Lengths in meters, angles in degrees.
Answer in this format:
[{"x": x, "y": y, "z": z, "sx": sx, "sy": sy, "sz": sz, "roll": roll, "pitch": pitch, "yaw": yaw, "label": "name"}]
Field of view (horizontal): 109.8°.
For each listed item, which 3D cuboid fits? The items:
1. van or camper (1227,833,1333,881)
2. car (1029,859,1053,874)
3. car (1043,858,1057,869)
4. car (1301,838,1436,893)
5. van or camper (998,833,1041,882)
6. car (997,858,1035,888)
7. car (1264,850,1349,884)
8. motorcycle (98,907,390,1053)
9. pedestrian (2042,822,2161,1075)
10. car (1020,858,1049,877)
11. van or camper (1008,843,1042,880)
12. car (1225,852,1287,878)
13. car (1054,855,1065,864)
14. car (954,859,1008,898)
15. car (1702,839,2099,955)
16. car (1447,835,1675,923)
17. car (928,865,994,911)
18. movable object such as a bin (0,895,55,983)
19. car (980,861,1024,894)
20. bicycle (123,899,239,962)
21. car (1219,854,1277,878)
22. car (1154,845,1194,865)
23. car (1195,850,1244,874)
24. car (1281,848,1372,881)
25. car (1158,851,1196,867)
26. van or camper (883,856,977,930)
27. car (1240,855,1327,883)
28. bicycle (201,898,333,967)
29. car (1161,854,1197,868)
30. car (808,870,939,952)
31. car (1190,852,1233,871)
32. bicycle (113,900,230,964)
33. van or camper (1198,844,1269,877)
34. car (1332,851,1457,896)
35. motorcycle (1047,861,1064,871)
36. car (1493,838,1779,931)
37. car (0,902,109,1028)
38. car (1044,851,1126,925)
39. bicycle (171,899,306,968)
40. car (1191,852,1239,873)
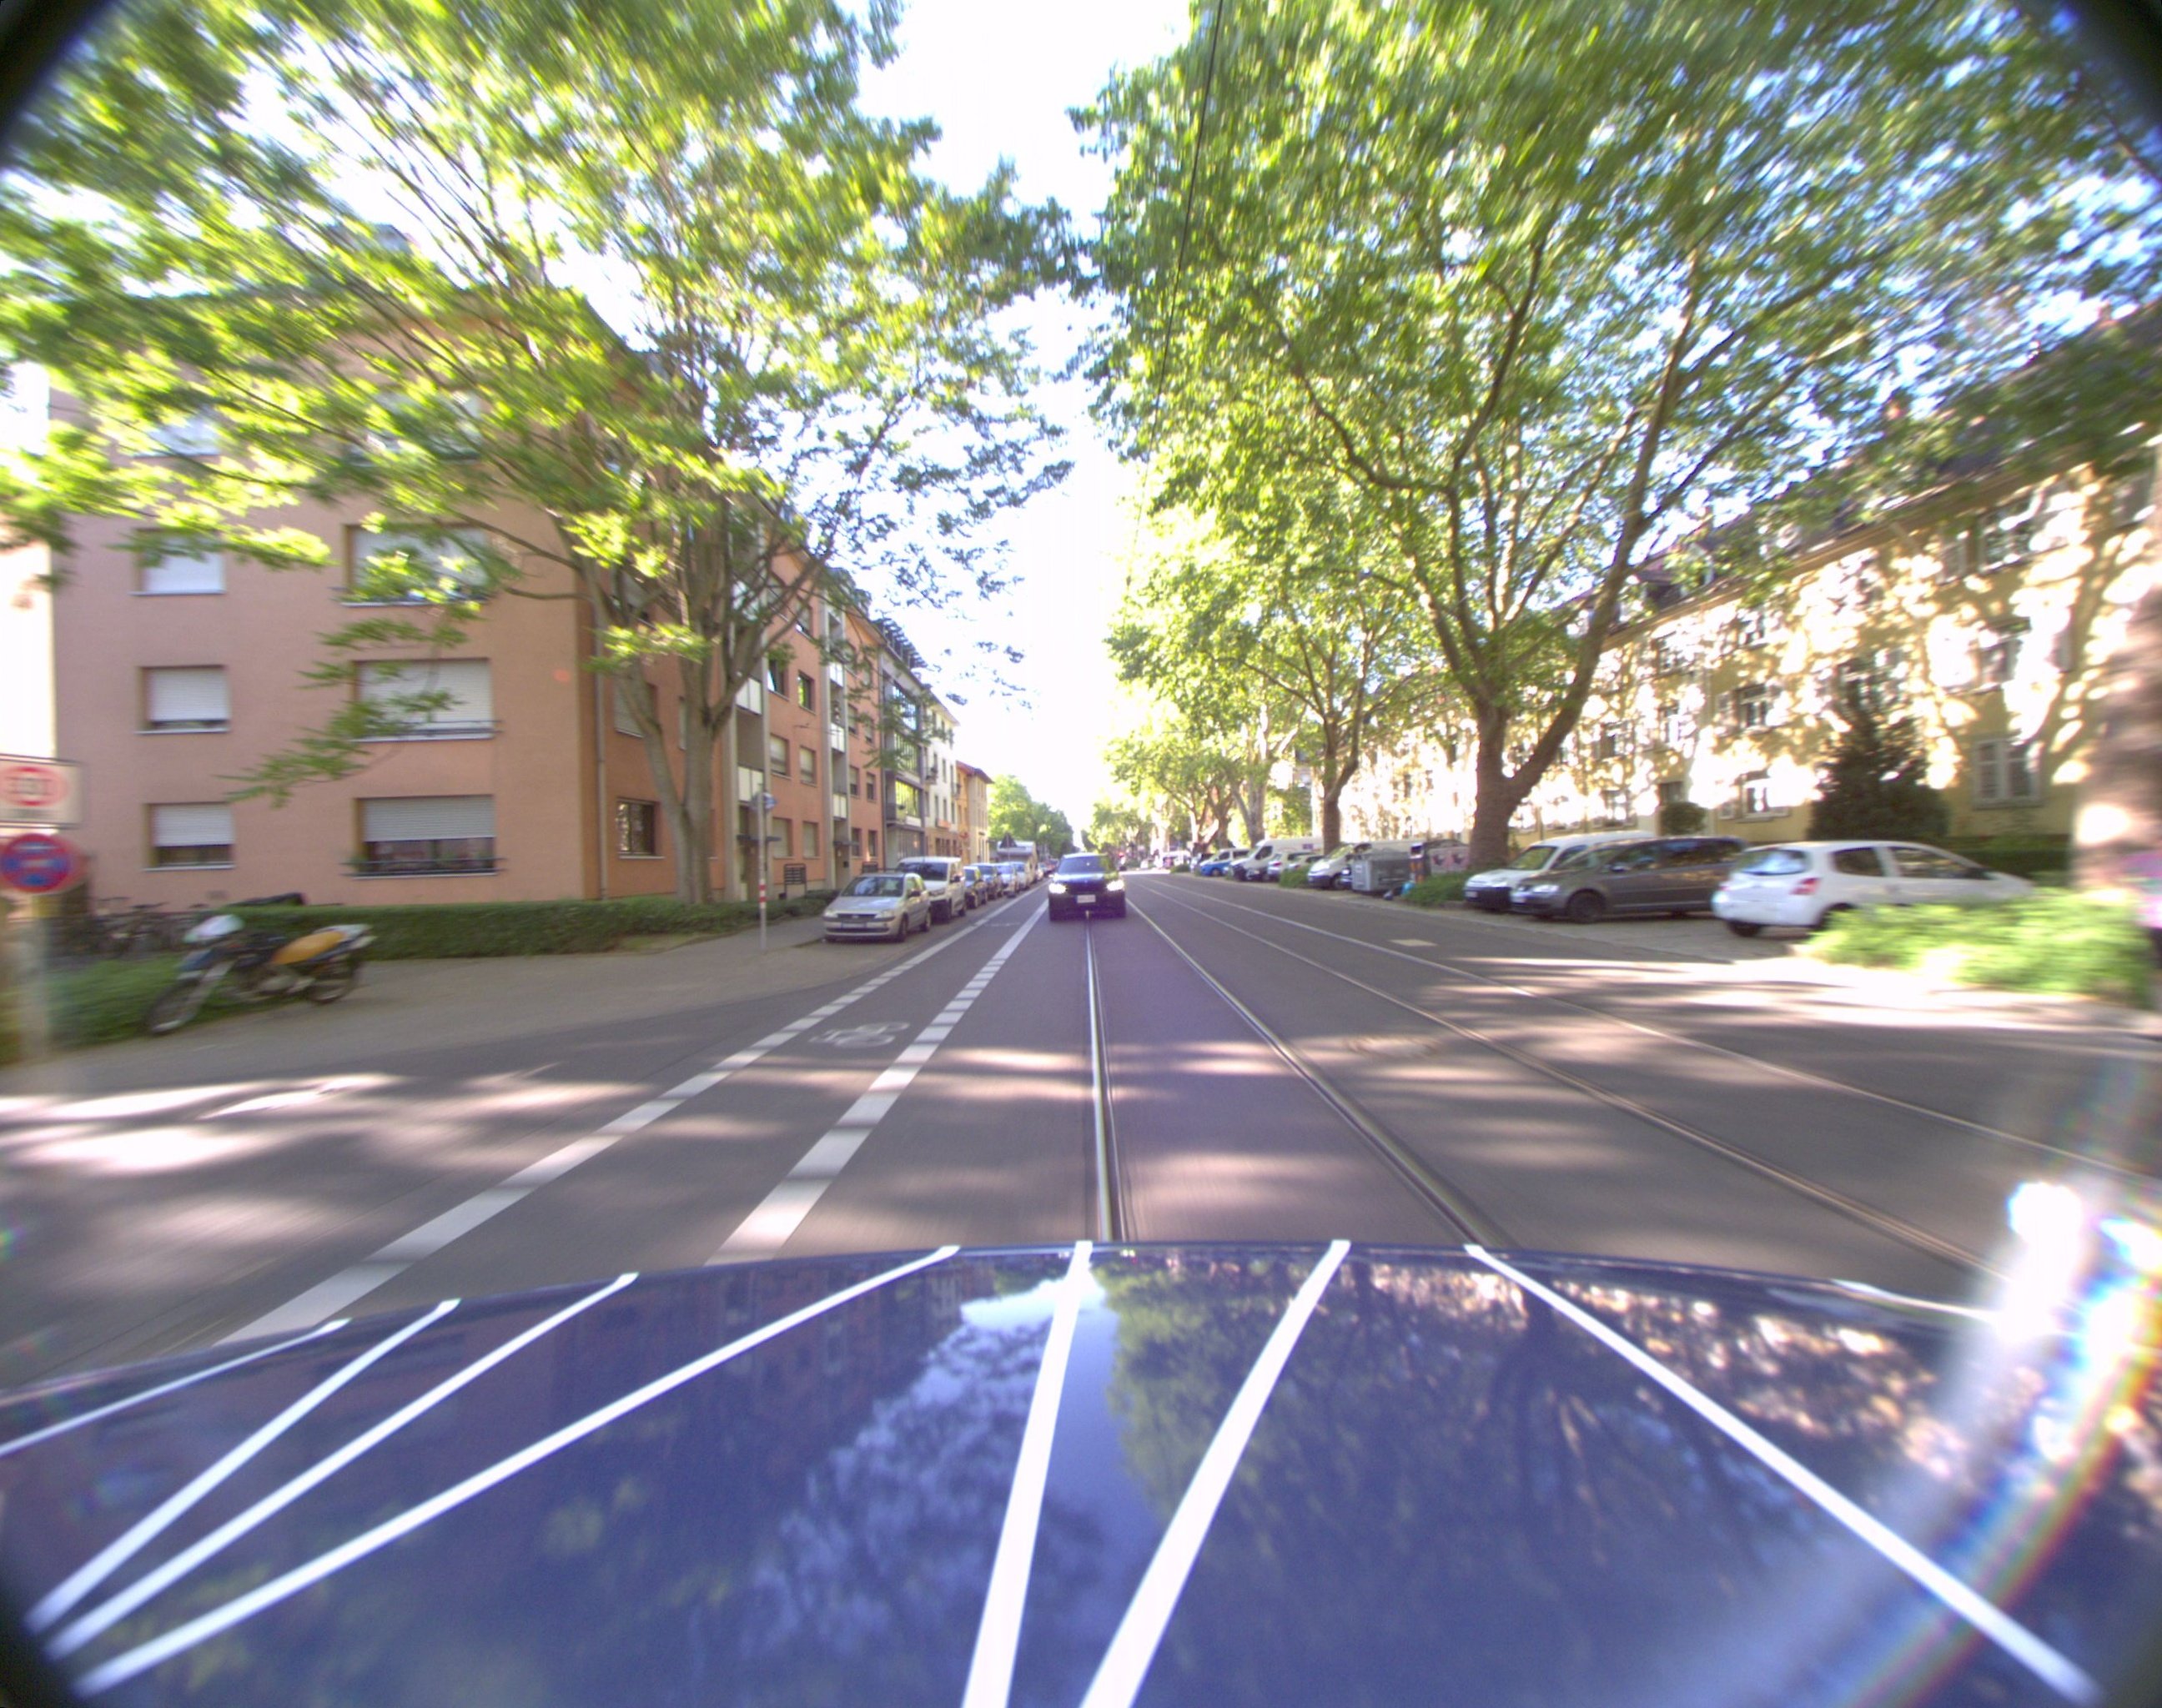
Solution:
[{"x": 11.487, "y": 0.177, "z": 44.146, "sx": 5.403, "sy": 2.501, "sz": 2.445, "roll": -3, "pitch": 0, "yaw": 0, "label": "van or camper"}, {"x": -3.774, "y": 1.177, "z": 72.665, "sx": 1.998, "sy": 1.372, "sz": 4.739, "roll": 0, "pitch": 0, "yaw": 0, "label": "car"}, {"x": -4.021, "y": 1.211, "z": 99.511, "sx": 1.607, "sy": 1.372, "sz": 3.864, "roll": 0, "pitch": 0, "yaw": 0, "label": "car"}, {"x": 11.603, "y": 0.441, "z": 30.843, "sx": 4.669, "sy": 1.934, "sz": 1.961, "roll": -3, "pitch": 0, "yaw": -3, "label": "car"}, {"x": -3.971, "y": 0.234, "z": 50.189, "sx": 2.468, "sy": 3.046, "sz": 6.267, "roll": 0, "pitch": 0, "yaw": -1, "label": "van or camper"}, {"x": -3.667, "y": 1.055, "z": 43.609, "sx": 1.797, "sy": 1.618, "sz": 4.276, "roll": 0, "pitch": 0, "yaw": 0, "label": "car"}, {"x": 11.611, "y": 0.659, "z": 39.334, "sx": 3.857, "sy": 1.653, "sz": 1.862, "roll": -1, "pitch": 0, "yaw": 1, "label": "car"}, {"x": -9.507, "y": 1.362, "z": 8.824, "sx": 0.679, "sy": 1.290, "sz": 2.258, "roll": -2, "pitch": 1, "yaw": 6, "label": "motorcycle"}, {"x": 7.890, "y": 0.650, "z": 5.495, "sx": 0.824, "sy": 1.735, "sz": 0.796, "roll": -3, "pitch": 1, "yaw": 1, "label": "pedestrian"}, {"x": -3.833, "y": 1.119, "z": 63.075, "sx": 1.998, "sy": 1.485, "sz": 4.740, "roll": 0, "pitch": 0, "yaw": 1, "label": "car"}, {"x": -4.103, "y": 0.524, "z": 56.268, "sx": 2.138, "sy": 2.647, "sz": 4.979, "roll": 0, "pitch": 0, "yaw": 0, "label": "van or camper"}, {"x": 11.644, "y": 0.724, "z": 50.726, "sx": 3.691, "sy": 1.556, "sz": 1.613, "roll": -3, "pitch": 0, "yaw": 2, "label": "car"}, {"x": -3.962, "y": 1.012, "z": 139.476, "sx": 1.815, "sy": 1.701, "sz": 4.372, "roll": 0, "pitch": 0, "yaw": 0, "label": "car"}, {"x": -4.293, "y": 1.023, "z": 33.154, "sx": 1.772, "sy": 1.563, "sz": 4.336, "roll": 0, "pitch": 0, "yaw": 0, "label": "car"}, {"x": 11.942, "y": 0.591, "z": 11.309, "sx": 3.857, "sy": 1.489, "sz": 1.862, "roll": -1, "pitch": 0, "yaw": 1, "label": "car"}, {"x": 11.094, "y": 0.549, "z": 17.736, "sx": 4.210, "sy": 1.747, "sz": 1.739, "roll": -3, "pitch": 0, "yaw": -2, "label": "car"}, {"x": -4.335, "y": 1.205, "z": 28.000, "sx": 1.710, "sy": 1.464, "sz": 4.168, "roll": -1, "pitch": 0, "yaw": 0, "label": "car"}, {"x": -19.292, "y": 1.480, "z": 12.571, "sx": 2.547, "sy": 1.411, "sz": 1.377, "roll": -2, "pitch": 2, "yaw": -2, "label": "movable object such as a bin"}, {"x": -3.885, "y": 1.117, "z": 37.866, "sx": 1.793, "sy": 1.513, "sz": 4.321, "roll": 0, "pitch": 0, "yaw": -1, "label": "car"}, {"x": -18.491, "y": 1.574, "z": 15.627, "sx": 1.774, "sy": 1.158, "sz": 0.450, "roll": -3, "pitch": 1, "yaw": 1, "label": "bicycle"}, {"x": 11.637, "y": 0.828, "z": 53.085, "sx": 3.540, "sy": 1.451, "sz": 1.695, "roll": -3, "pitch": 0, "yaw": -6, "label": "car"}, {"x": 12.521, "y": 0.124, "z": 102.640, "sx": 5.019, "sy": 2.383, "sz": 2.028, "roll": -3, "pitch": 0, "yaw": -1, "label": "car"}, {"x": 11.474, "y": 0.667, "z": 63.284, "sx": 3.691, "sy": 1.804, "sz": 1.704, "roll": -3, "pitch": 0, "yaw": 0, "label": "car"}, {"x": 11.967, "y": 0.510, "z": 37.190, "sx": 3.857, "sy": 1.489, "sz": 1.862, "roll": -1, "pitch": 0, "yaw": 1, "label": "car"}, {"x": 12.164, "y": 0.635, "z": 96.790, "sx": 4.464, "sy": 1.755, "sz": 2.028, "roll": -3, "pitch": 0, "yaw": -1, "label": "car"}, {"x": -4.219, "y": 0.996, "z": 21.958, "sx": 1.759, "sy": 1.853, "sz": 4.830, "roll": -1, "pitch": 0, "yaw": -1, "label": "van or camper"}, {"x": 11.042, "y": 0.809, "z": 41.682, "sx": 4.274, "sy": 1.390, "sz": 1.753, "roll": -1, "pitch": 0, "yaw": 1, "label": "car"}, {"x": -15.511, "y": 1.459, "z": 14.551, "sx": 0.513, "sy": 1.093, "sz": 1.775, "roll": -3, "pitch": 1, "yaw": 1, "label": "bicycle"}, {"x": 12.173, "y": 0.910, "z": 94.215, "sx": 4.171, "sy": 1.506, "sz": 1.925, "roll": -3, "pitch": -1, "yaw": -1, "label": "car"}, {"x": -4.386, "y": 1.146, "z": 16.676, "sx": 1.710, "sy": 1.464, "sz": 4.000, "roll": -1, "pitch": 0, "yaw": 0, "label": "car"}, {"x": 12.037, "y": 0.714, "z": 70.220, "sx": 3.689, "sy": 1.545, "sz": 1.704, "roll": -3, "pitch": 0, "yaw": 6, "label": "car"}, {"x": -18.494, "y": 1.573, "z": 15.457, "sx": 1.774, "sy": 1.163, "sz": 0.450, "roll": -3, "pitch": 1, "yaw": 1, "label": "bicycle"}, {"x": 11.348, "y": 0.496, "z": 56.810, "sx": 4.832, "sy": 2.177, "sz": 2.119, "roll": -3, "pitch": 0, "yaw": 0, "label": "van or camper"}, {"x": 11.494, "y": 0.698, "z": 28.042, "sx": 3.857, "sy": 1.489, "sz": 1.862, "roll": -1, "pitch": 0, "yaw": 1, "label": "car"}, {"x": -3.167, "y": 1.533, "z": 95.704, "sx": 2.071, "sy": 1.152, "sz": 0.828, "roll": 1, "pitch": 1, "yaw": 4, "label": "motorcycle"}, {"x": 10.969, "y": 0.587, "z": 15.330, "sx": 4.243, "sy": 1.678, "sz": 1.934, "roll": -1, "pitch": 0, "yaw": 8, "label": "car"}, {"x": -14.836, "y": 1.498, "z": 9.662, "sx": 1.730, "sy": 1.531, "sz": 3.991, "roll": -2, "pitch": 0, "yaw": -32, "label": "car"}, {"x": 0.111, "y": 0.848, "z": 21.120, "sx": 1.924, "sy": 1.741, "sz": 4.806, "roll": -3, "pitch": 0, "yaw": 0, "label": "car"}, {"x": -16.062, "y": 1.488, "z": 14.554, "sx": 0.513, "sy": 1.093, "sz": 1.775, "roll": -3, "pitch": 1, "yaw": 1, "label": "bicycle"}, {"x": 11.573, "y": 0.706, "z": 65.634, "sx": 3.693, "sy": 1.615, "sz": 1.799, "roll": -3, "pitch": 0, "yaw": -4, "label": "car"}]
